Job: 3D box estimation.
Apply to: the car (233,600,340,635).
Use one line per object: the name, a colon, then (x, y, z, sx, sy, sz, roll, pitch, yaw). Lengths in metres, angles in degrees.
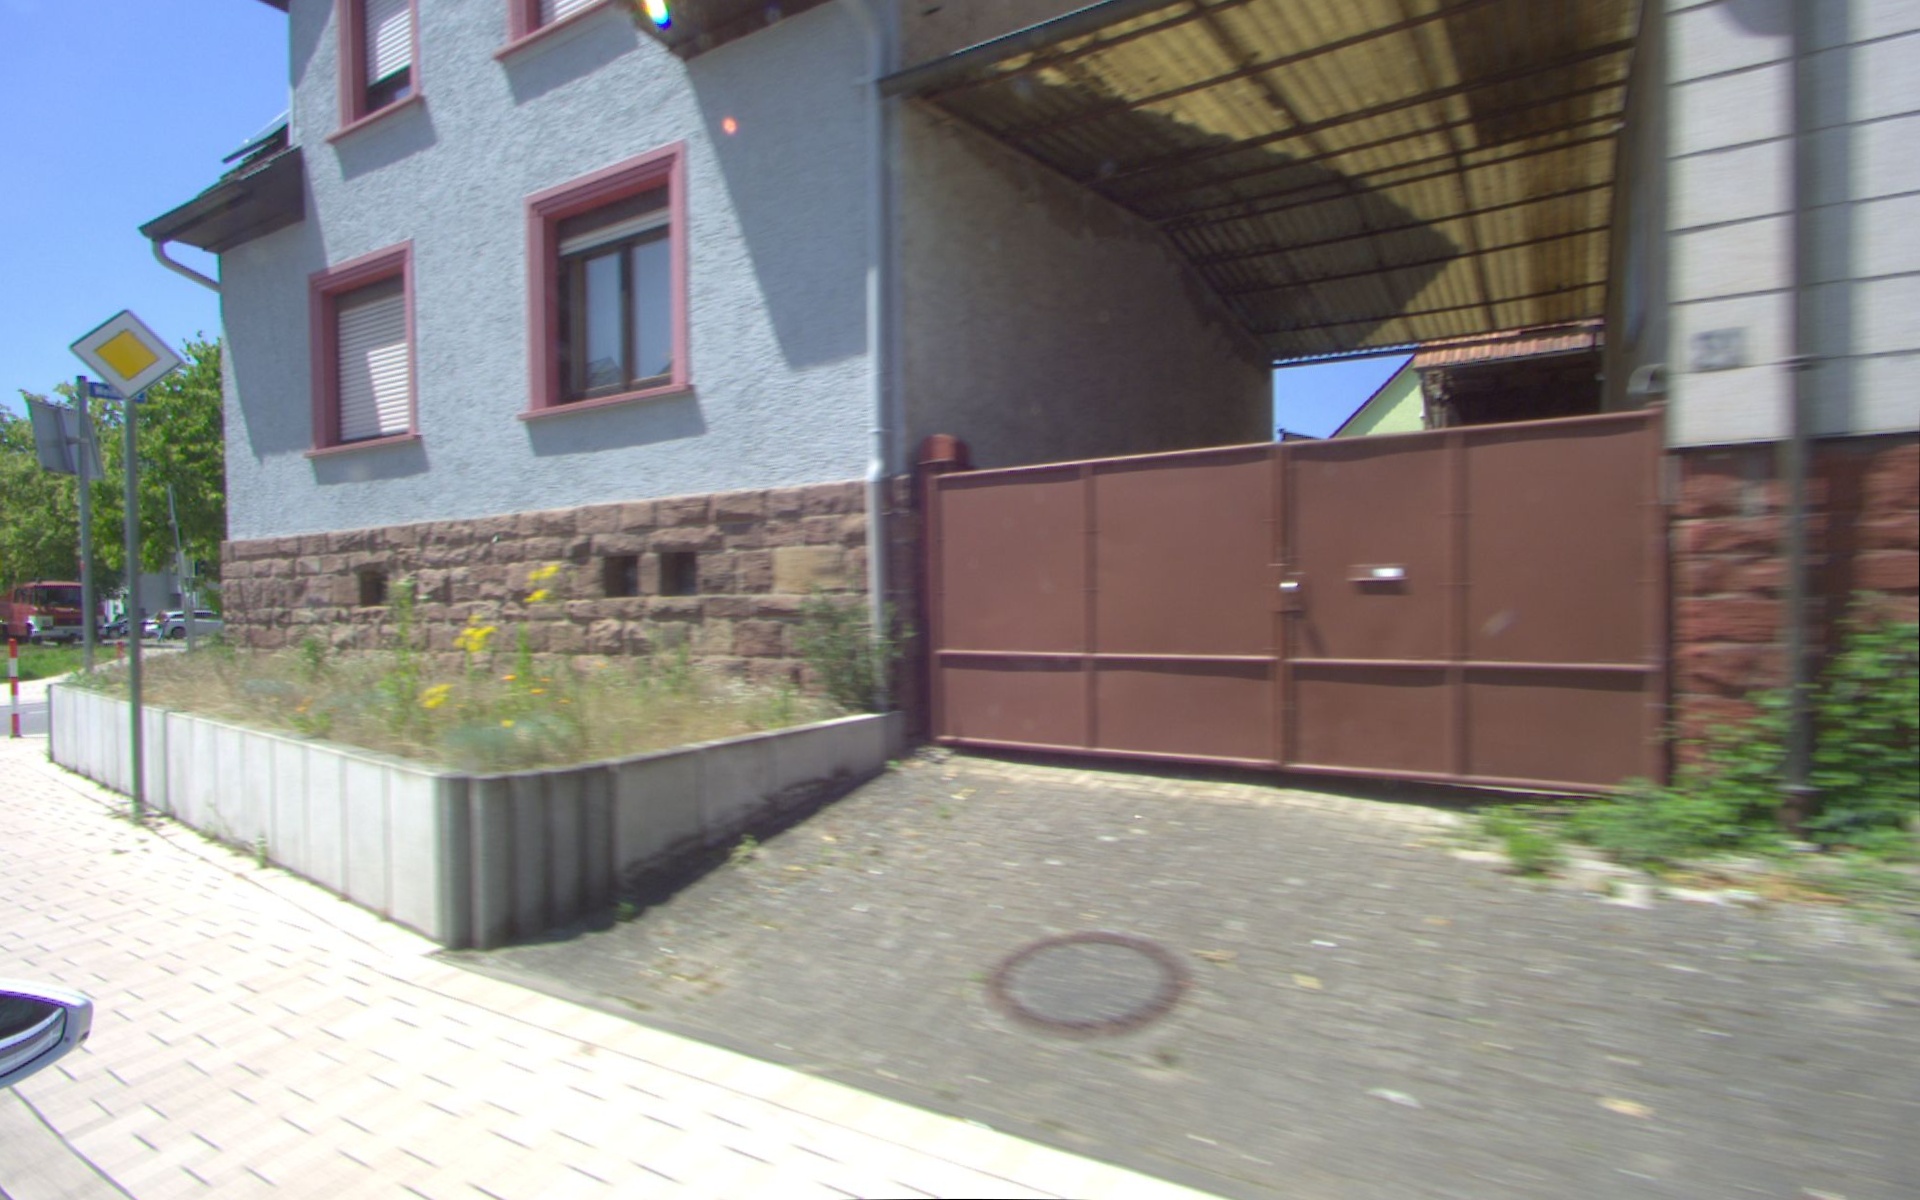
car: (-32.688, 0.838, 48.696, 1.733, 1.498, 3.925, -1, 1, 34)

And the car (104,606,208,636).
car: (-47.203, 1.228, 58.866, 1.733, 1.510, 4.392, -1, 1, 34)

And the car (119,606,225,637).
car: (-45.000, 1.207, 57.265, 1.733, 1.510, 4.392, -1, 1, 34)

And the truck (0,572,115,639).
truck: (-34.063, 0.231, 37.661, 5.186, 2.365, 2.127, -1, 0, 33)

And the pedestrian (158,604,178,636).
pedestrian: (-38.790, 0.967, 49.018, 0.733, 1.532, 0.608, 1, 3, 44)

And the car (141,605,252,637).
car: (-41.165, 1.133, 54.072, 1.733, 1.510, 4.392, -1, 1, 34)

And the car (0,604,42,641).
car: (-39.818, 0.929, 40.294, 1.725, 1.518, 3.975, -1, 0, 35)
